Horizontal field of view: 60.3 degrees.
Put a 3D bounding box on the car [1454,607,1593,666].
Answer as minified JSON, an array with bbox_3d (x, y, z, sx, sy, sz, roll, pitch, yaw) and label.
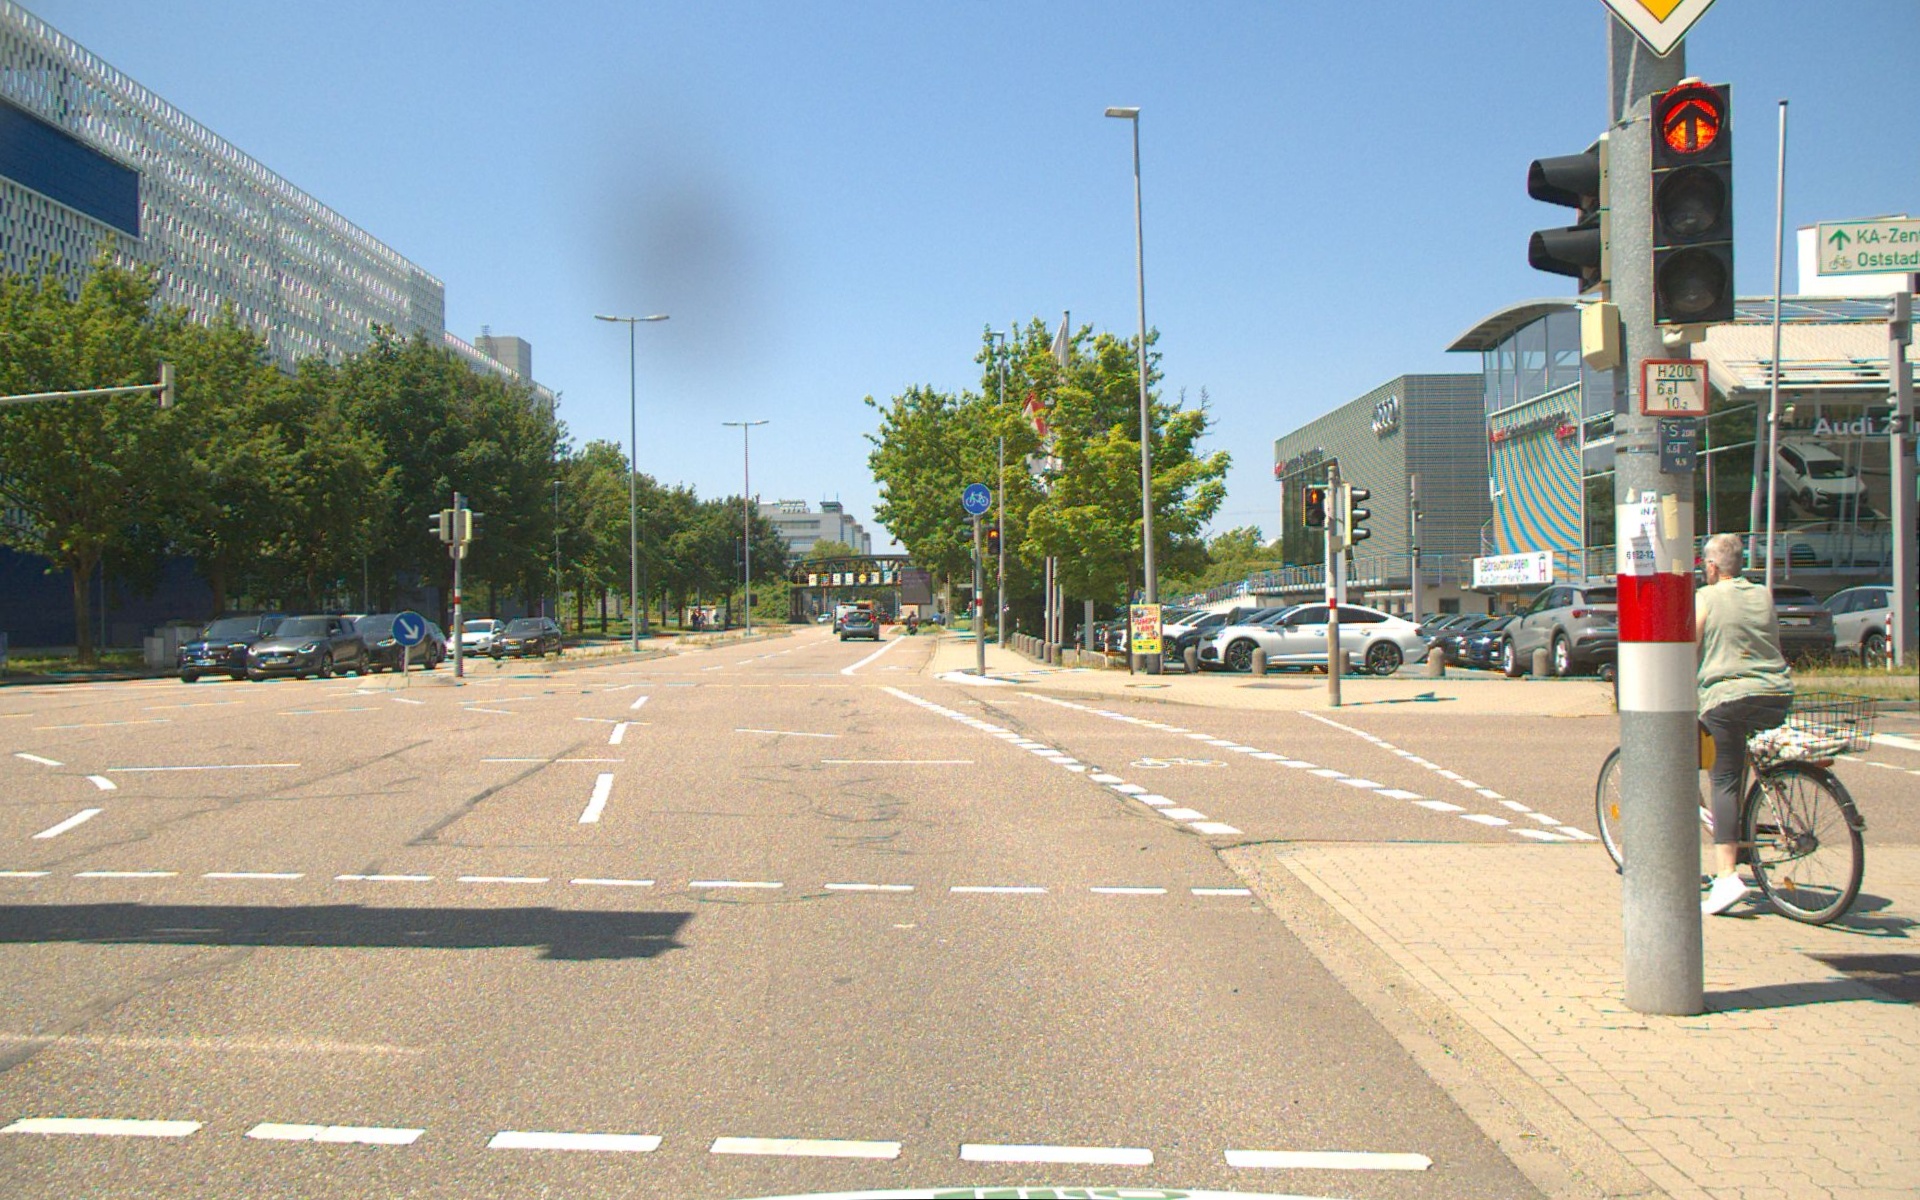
[{"bbox_3d":[16.732,1.077,49.220,3.573,1.608,1.642,2,-1,-1],"label":"car"}]

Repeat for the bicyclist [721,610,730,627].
[{"bbox_3d":[-23.322,1.879,164.476,0.621,1.657,1.044,-3,-1,-2],"label":"bicyclist"}]

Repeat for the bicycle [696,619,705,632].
[{"bbox_3d":[-23.497,2.297,149.725,0.625,1.153,1.968,-1,-1,-6],"label":"bicycle"}]

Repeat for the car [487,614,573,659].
[{"bbox_3d":[-15.548,1.314,60.038,1.691,1.471,4.720,-3,-1,2],"label":"car"}]

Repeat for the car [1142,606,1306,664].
[{"bbox_3d":[6.942,0.908,43.783,4.013,1.388,1.874,2,-1,-1],"label":"car"}]

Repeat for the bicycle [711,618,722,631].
[{"bbox_3d":[-22.559,2.241,153.032,0.724,1.145,2.433,-1,0,-2],"label":"bicycle"}]

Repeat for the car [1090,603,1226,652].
[{"bbox_3d":[6.216,0.866,52.244,4.017,1.429,1.868,2,-1,-1],"label":"car"}]

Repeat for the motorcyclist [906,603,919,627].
[{"bbox_3d":[-3.026,0.962,105.959,0.706,1.556,0.868,1,-1,-11],"label":"motorcyclist"}]

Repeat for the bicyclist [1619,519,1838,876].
[{"bbox_3d":[3.712,0.453,8.036,0.616,1.634,0.824,1,-1,-7],"label":"bicyclist"}]

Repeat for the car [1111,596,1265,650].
[{"bbox_3d":[6.380,0.651,46.576,4.016,1.372,1.868,2,-1,-1],"label":"car"}]

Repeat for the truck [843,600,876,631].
[{"bbox_3d":[-8.308,1.291,137.037,2.408,2.452,7.132,1,0,-1],"label":"truck"}]

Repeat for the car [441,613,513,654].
[{"bbox_3d":[-18.950,1.325,65.072,1.708,1.512,3.999,-2,-1,-1],"label":"car"}]

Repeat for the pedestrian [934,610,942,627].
[{"bbox_3d":[-1.847,1.534,139.608,0.611,1.399,0.564,-1,-1,-3],"label":"pedestrian"}]

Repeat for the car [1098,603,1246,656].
[{"bbox_3d":[6.284,0.875,49.356,4.140,1.415,1.868,2,-1,-1],"label":"car"}]

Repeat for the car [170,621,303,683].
[{"bbox_3d":[-18.352,1.301,42.140,1.627,1.449,4.037,-2,-1,-1],"label":"car"}]

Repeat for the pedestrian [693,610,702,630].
[{"bbox_3d":[-25.449,1.977,160.483,0.728,1.917,0.577,-1,-1,0],"label":"pedestrian"}]

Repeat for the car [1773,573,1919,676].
[{"bbox_3d":[16.421,0.443,29.314,1.808,1.683,3.994,2,-1,-5],"label":"car"}]

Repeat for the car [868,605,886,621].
[{"bbox_3d":[-10.881,1.730,217.007,1.952,2.049,4.001,-2,0,2],"label":"car"}]

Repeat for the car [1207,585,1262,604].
[{"bbox_3d":[21.521,-0.419,129.650,3.909,1.335,1.795,1,-1,-5],"label":"car"}]

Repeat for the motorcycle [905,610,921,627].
[{"bbox_3d":[-3.015,1.180,105.872,0.703,1.124,1.825,1,-1,-10],"label":"motorcycle"}]

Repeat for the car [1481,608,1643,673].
[{"bbox_3d":[16.703,1.117,45.992,3.904,1.650,1.656,2,-1,-1],"label":"car"}]

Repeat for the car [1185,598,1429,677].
[{"bbox_3d":[6.931,0.748,33.356,4.498,1.415,1.869,2,-1,0],"label":"car"}]

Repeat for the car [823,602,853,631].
[{"bbox_3d":[-8.832,1.196,120.110,1.953,2.049,3.998,-1,0,-2],"label":"car"}]

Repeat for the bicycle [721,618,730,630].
[{"bbox_3d":[-23.304,2.379,164.556,0.616,1.179,2.116,-3,0,-2],"label":"bicycle"}]

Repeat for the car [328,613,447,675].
[{"bbox_3d":[-15.388,1.164,44.691,1.691,1.531,4.243,-3,-1,0],"label":"car"}]

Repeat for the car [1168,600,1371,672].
[{"bbox_3d":[6.640,0.766,35.768,4.013,1.415,1.868,2,-1,-1],"label":"car"}]

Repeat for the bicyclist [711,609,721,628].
[{"bbox_3d":[-22.563,1.702,152.914,0.730,1.715,0.952,-1,-1,-2],"label":"bicyclist"}]

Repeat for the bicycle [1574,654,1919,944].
[{"bbox_3d":[3.712,0.875,7.987,0.616,1.153,1.892,0,0,-6],"label":"bicycle"}]

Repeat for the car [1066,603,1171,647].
[{"bbox_3d":[5.764,0.902,60.404,3.607,1.479,1.833,2,-1,-1],"label":"car"}]

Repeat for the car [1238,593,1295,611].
[{"bbox_3d":[21.559,0.148,116.285,3.652,1.150,1.682,1,-1,-5],"label":"car"}]

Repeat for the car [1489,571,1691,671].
[{"bbox_3d":[11.032,0.412,29.313,1.830,1.586,4.503,-2,-2,0],"label":"car"}]

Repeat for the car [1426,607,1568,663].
[{"bbox_3d":[16.730,1.078,51.619,3.901,1.601,1.633,2,-1,-1],"label":"car"}]

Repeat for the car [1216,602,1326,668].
[{"bbox_3d":[7.419,0.819,39.895,1.824,1.444,4.663,2,-1,1],"label":"car"}]

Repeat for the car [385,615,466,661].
[{"bbox_3d":[-18.797,1.317,58.336,1.616,1.512,3.914,-2,-1,-1],"label":"car"}]

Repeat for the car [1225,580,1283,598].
[{"bbox_3d":[21.522,-0.812,121.197,3.862,1.232,1.715,0,-1,-5],"label":"car"}]

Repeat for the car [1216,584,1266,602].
[{"bbox_3d":[21.269,-0.550,125.373,3.455,1.261,1.675,1,-1,-5],"label":"car"}]

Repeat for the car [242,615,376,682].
[{"bbox_3d":[-15.112,1.113,38.562,1.610,1.413,3.715,-3,-1,0],"label":"car"}]

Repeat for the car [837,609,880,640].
[{"bbox_3d":[-4.815,1.136,78.882,1.862,1.400,4.230,-1,0,-2],"label":"car"}]

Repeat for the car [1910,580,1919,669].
[{"bbox_3d":[18.701,0.479,29.052,1.604,1.644,3.814,0,1,-5],"label":"car"}]

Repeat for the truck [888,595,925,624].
[{"bbox_3d":[-5.457,0.948,169.473,2.559,2.900,5.619,1,0,10],"label":"truck"}]

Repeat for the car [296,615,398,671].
[{"bbox_3d":[-18.596,1.287,50.345,1.691,1.571,3.914,-2,-1,-1],"label":"car"}]

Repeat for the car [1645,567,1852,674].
[{"bbox_3d":[13.697,0.355,28.990,1.806,1.683,3.999,2,-1,2],"label":"car"}]
